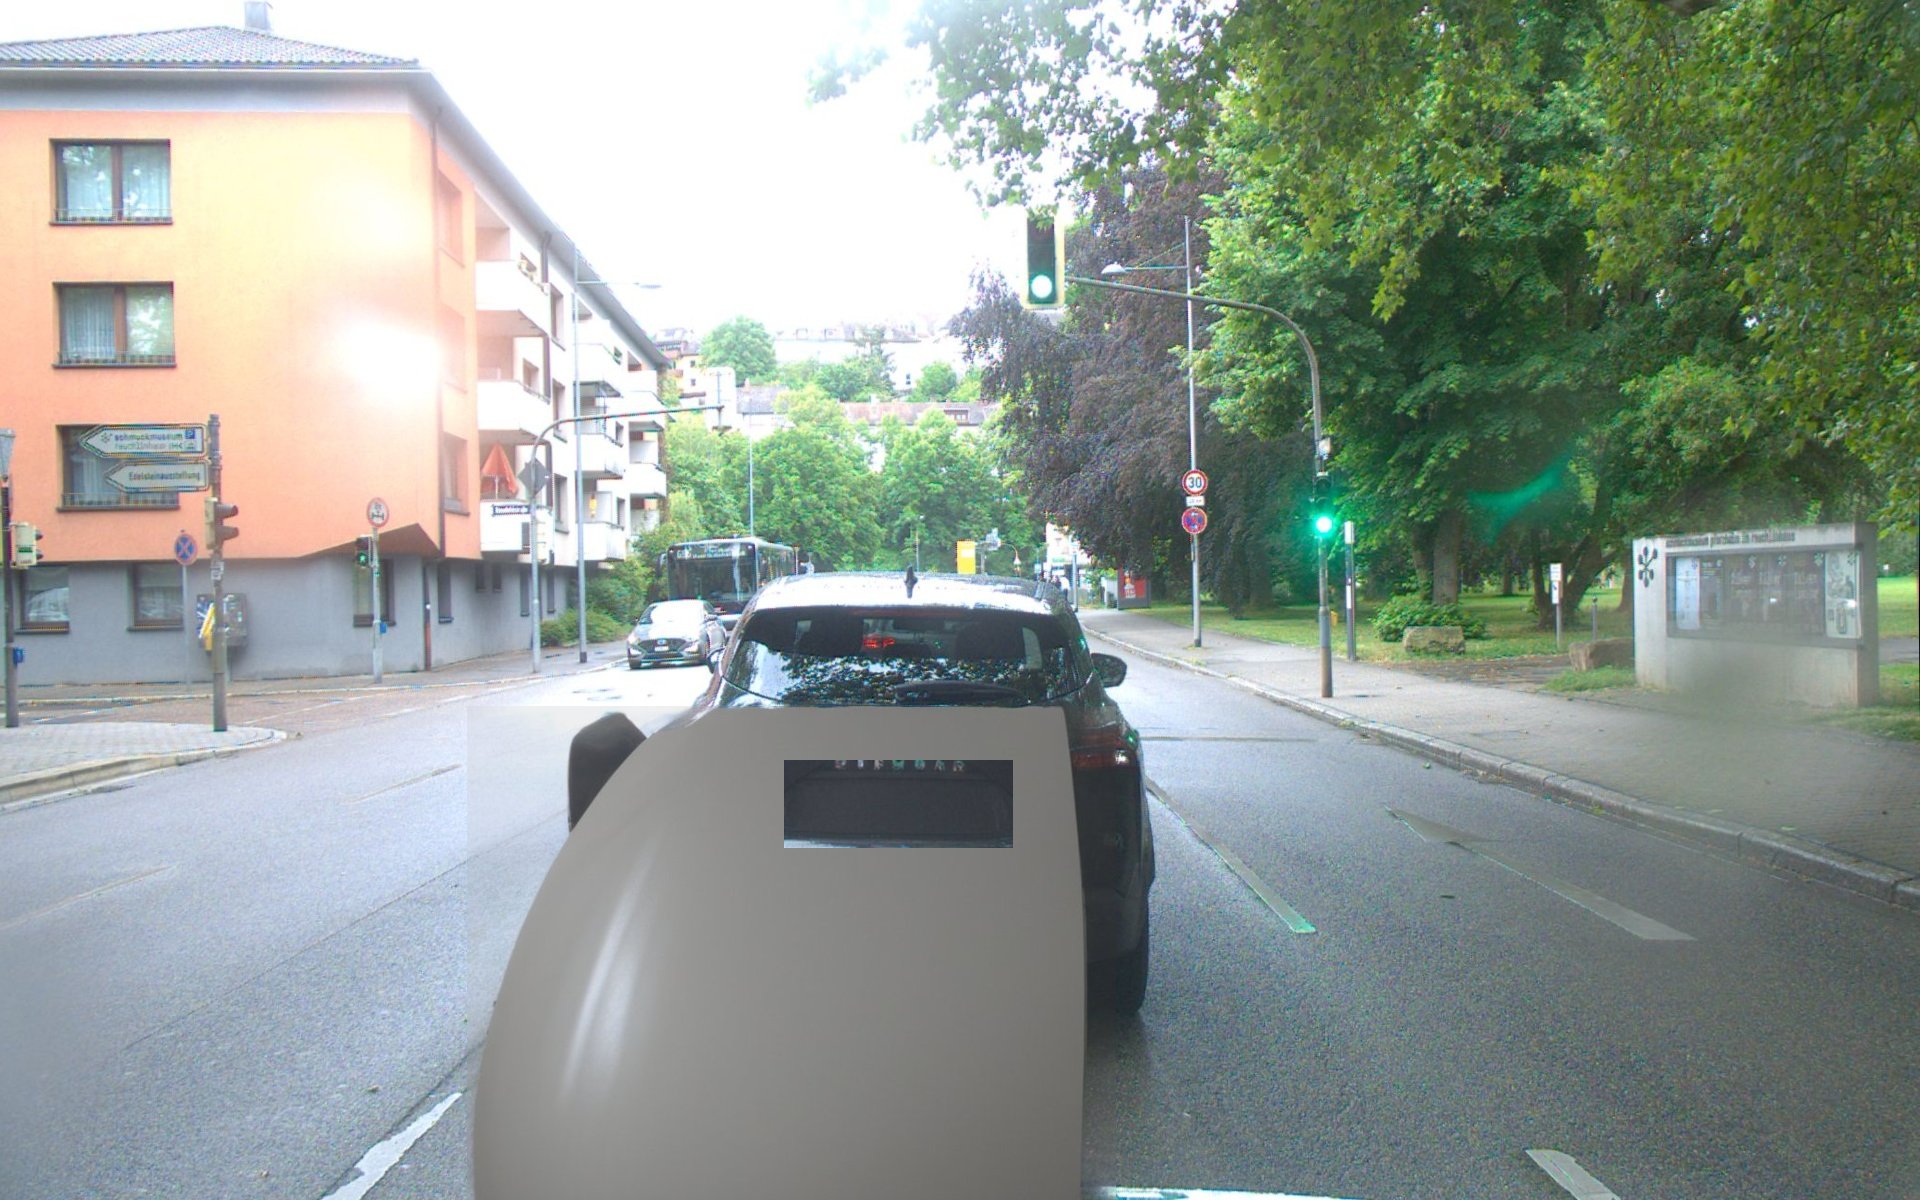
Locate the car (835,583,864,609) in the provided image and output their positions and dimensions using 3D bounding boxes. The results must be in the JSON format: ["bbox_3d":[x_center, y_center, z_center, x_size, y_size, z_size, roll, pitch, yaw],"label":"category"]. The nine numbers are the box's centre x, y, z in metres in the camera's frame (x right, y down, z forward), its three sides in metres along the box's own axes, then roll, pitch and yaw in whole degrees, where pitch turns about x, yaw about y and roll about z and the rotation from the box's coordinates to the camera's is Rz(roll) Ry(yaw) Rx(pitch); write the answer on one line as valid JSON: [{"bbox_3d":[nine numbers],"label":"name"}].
[{"bbox_3d":[-7.452,-0.309,111.777,1.714,1.662,3.634,-2,1,0],"label":"car"}]

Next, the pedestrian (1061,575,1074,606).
[{"bbox_3d":[6.474,-0.585,99.601,0.606,1.810,0.778,-2,0,-1],"label":"pedestrian"}]

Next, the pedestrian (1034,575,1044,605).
[{"bbox_3d":[4.573,-0.568,95.432,0.533,1.680,0.490,1,-1,0],"label":"pedestrian"}]

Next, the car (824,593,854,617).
[{"bbox_3d":[-7.278,0.309,99.671,1.643,1.318,3.750,-3,1,-2],"label":"car"}]

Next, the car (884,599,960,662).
[{"bbox_3d":[-0.961,0.727,41.000,1.772,1.442,4.029,0,0,-2],"label":"car"}]

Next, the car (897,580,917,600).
[{"bbox_3d":[-4.875,-0.953,152.560,1.728,1.788,3.634,-2,1,0],"label":"car"}]

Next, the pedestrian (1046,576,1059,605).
[{"bbox_3d":[5.350,-0.554,95.452,0.685,1.680,0.628,1,-1,0],"label":"pedestrian"}]

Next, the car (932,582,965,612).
[{"bbox_3d":[-0.568,-0.161,83.148,1.591,1.439,3.454,-2,0,0],"label":"car"}]

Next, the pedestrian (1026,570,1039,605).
[{"bbox_3d":[4.651,-0.804,106.316,0.752,2.222,0.711,1,-1,2],"label":"pedestrian"}]

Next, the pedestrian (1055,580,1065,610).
[{"bbox_3d":[5.653,-0.304,93.865,0.504,1.684,0.550,1,-1,-1],"label":"pedestrian"}]

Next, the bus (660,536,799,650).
[{"bbox_3d":[-6.827,-0.195,50.711,2.710,3.026,11.779,-1,0,-1],"label":"bus"}]

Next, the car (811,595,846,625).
[{"bbox_3d":[-6.994,0.509,88.213,1.643,1.495,4.215,-3,1,-2],"label":"car"}]

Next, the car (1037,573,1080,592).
[{"bbox_3d":[9.777,-1.708,164.538,3.916,1.713,1.995,-2,0,-11],"label":"car"}]

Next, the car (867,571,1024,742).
[{"bbox_3d":[-0.120,0.578,19.230,1.588,1.738,3.771,-2,0,1],"label":"car"}]

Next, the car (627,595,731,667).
[{"bbox_3d":[-6.374,0.663,37.897,1.772,1.441,4.029,-3,1,-2],"label":"car"}]

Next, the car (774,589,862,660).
[{"bbox_3d":[-3.085,0.509,36.475,1.591,1.439,3.454,-2,0,0],"label":"car"}]

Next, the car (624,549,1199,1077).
[{"bbox_3d":[-0.175,0.674,7.157,1.769,1.618,3.999,1,0,-1],"label":"car"}]
